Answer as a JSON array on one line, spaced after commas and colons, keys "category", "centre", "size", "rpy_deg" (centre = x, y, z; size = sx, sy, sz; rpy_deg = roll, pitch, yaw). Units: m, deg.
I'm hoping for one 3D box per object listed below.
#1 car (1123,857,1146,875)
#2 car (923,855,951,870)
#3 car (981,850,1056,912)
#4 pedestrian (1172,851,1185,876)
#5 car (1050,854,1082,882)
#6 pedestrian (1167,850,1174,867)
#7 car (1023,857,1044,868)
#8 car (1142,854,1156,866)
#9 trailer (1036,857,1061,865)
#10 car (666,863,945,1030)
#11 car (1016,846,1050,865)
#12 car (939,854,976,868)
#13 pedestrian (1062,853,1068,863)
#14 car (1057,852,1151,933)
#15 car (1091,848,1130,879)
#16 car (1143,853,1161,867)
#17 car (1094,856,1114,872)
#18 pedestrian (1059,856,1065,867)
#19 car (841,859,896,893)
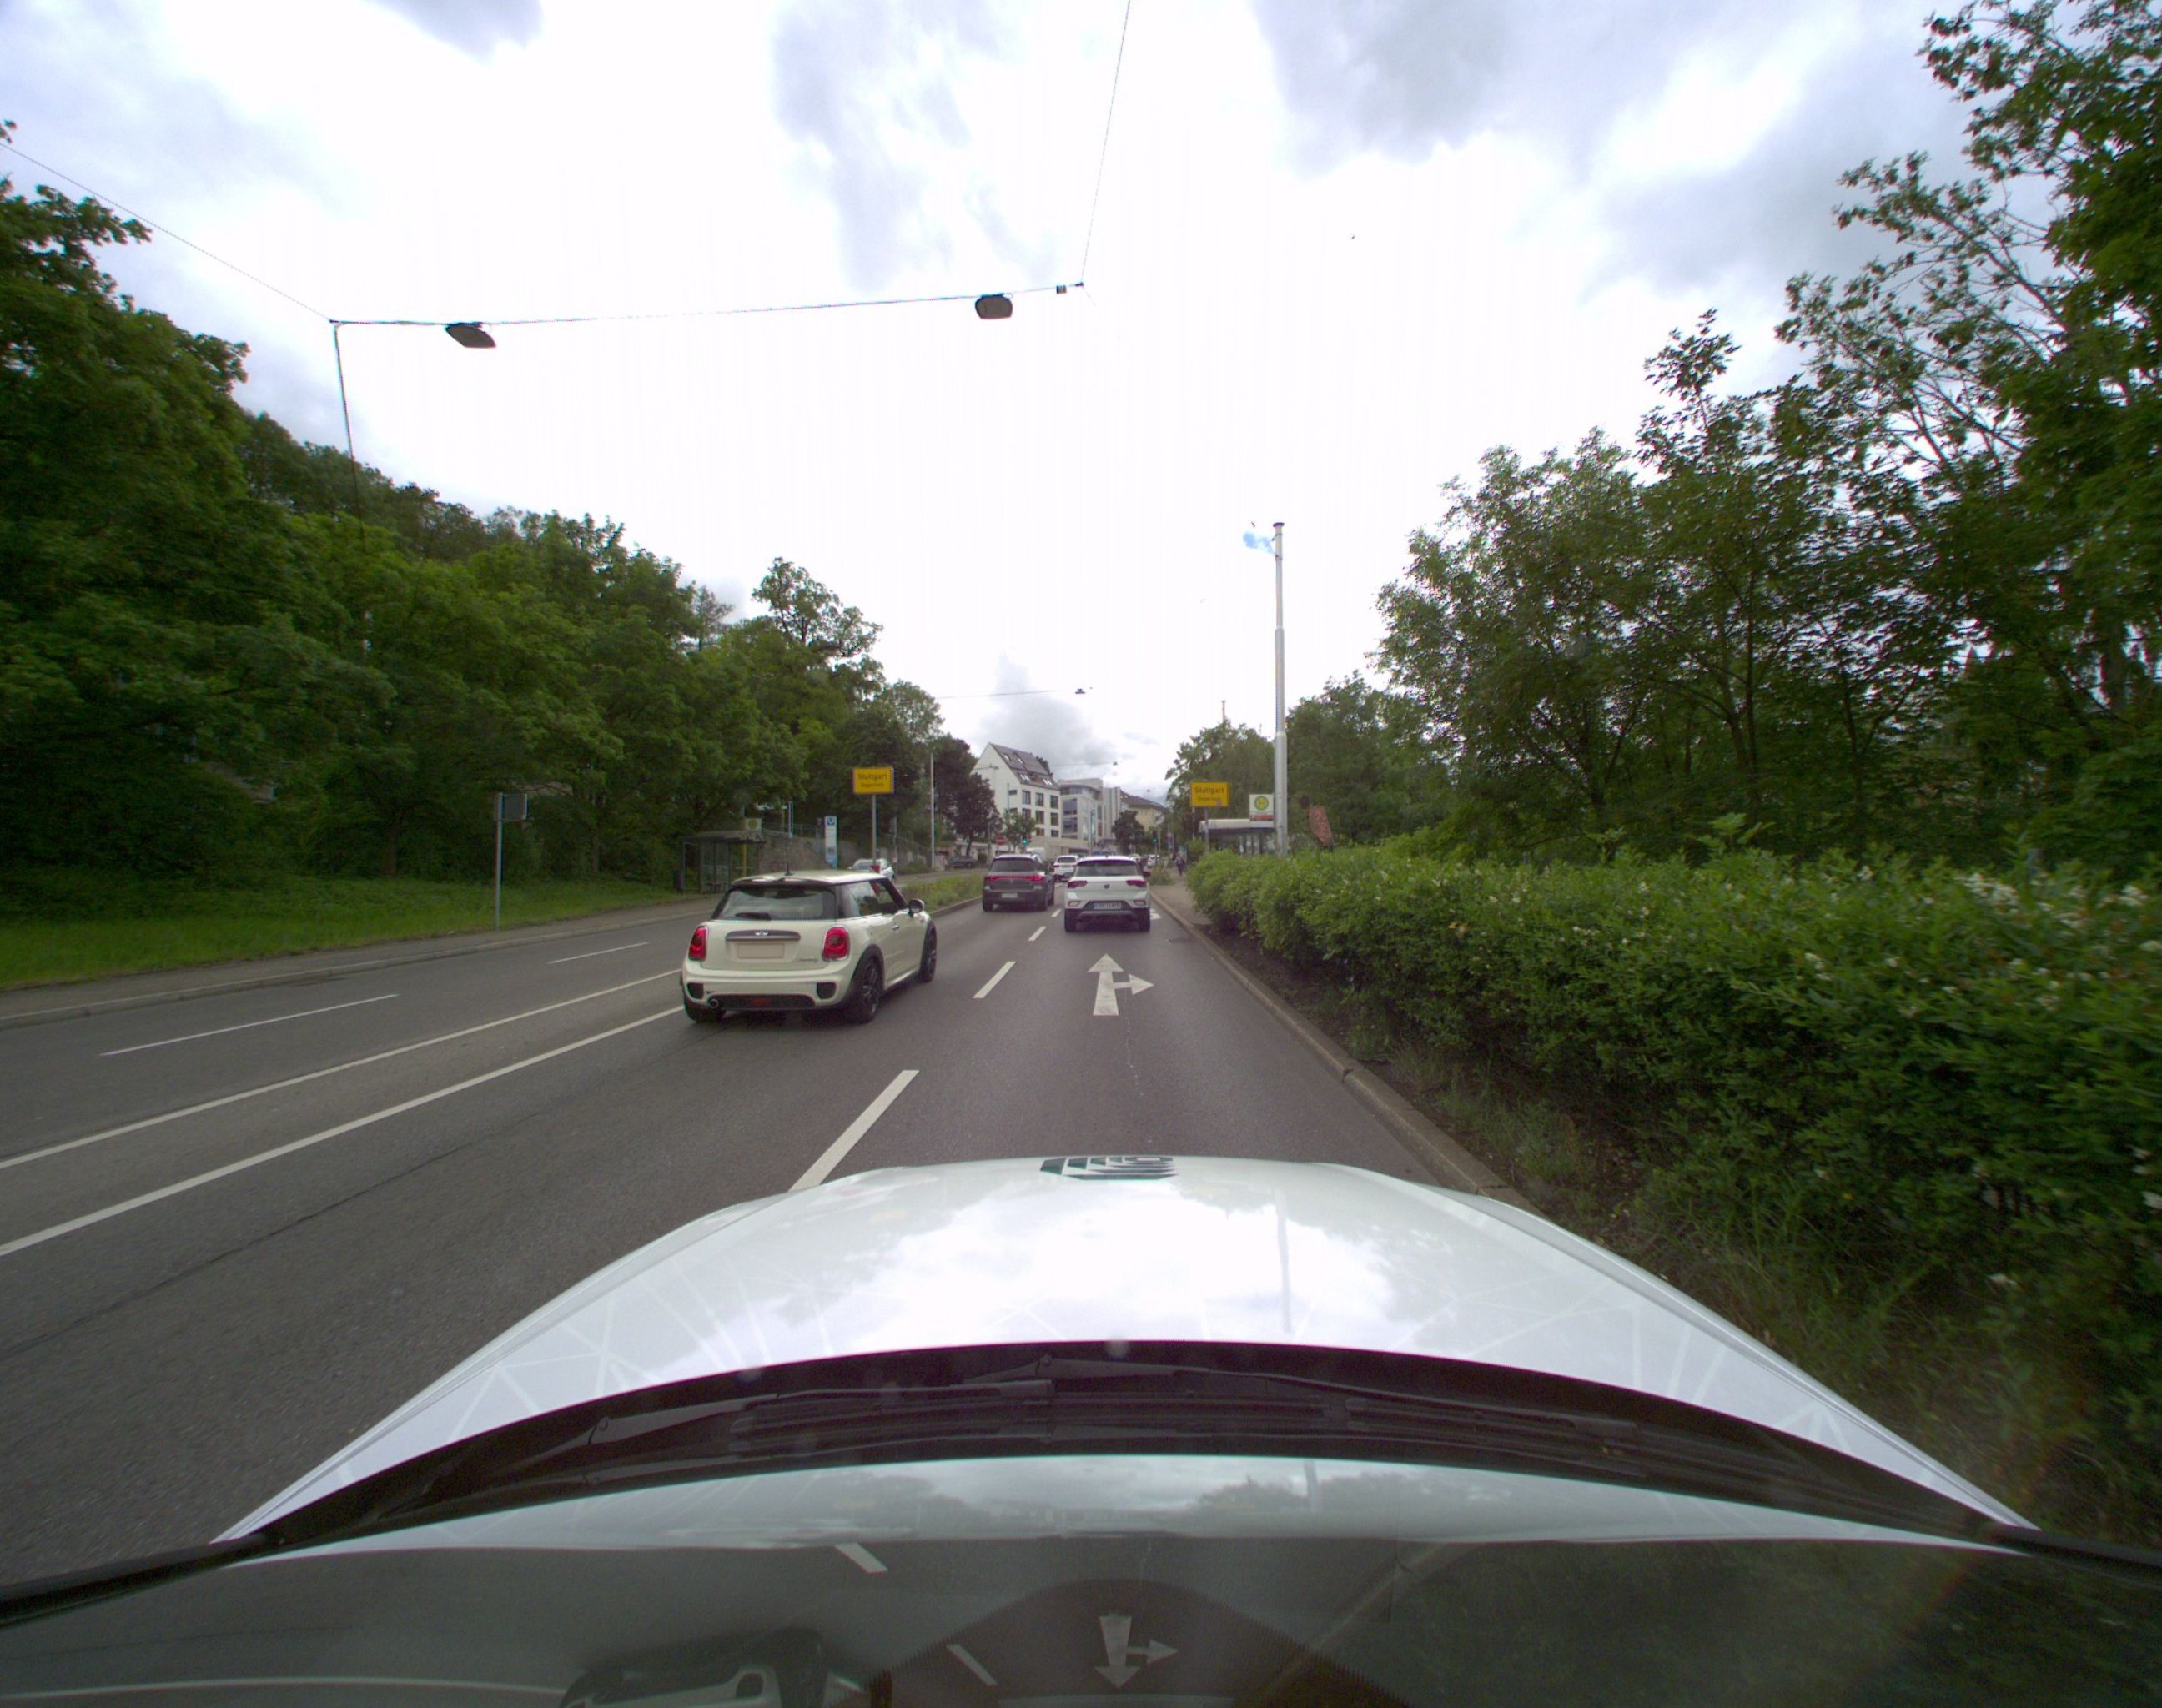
[{"category": "car", "centre": [4.858, 1.038, 73.786], "size": [1.864, 1.501, 4.562], "rpy_deg": [2, 0, 5]}, {"category": "car", "centre": [-15.554, 0.902, 87.918], "size": [2.712, 1.520, 1.553], "rpy_deg": [2, -2, -22]}, {"category": "car", "centre": [-1.788, 0.748, 24.747], "size": [1.806, 1.652, 4.636], "rpy_deg": [-2, 0, 1]}, {"category": "pedestrian", "centre": [6.783, 0.686, 56.455], "size": [0.687, 1.689, 0.623], "rpy_deg": [-3, -2, 23]}, {"category": "car", "centre": [-0.883, 0.838, 51.423], "size": [1.852, 1.652, 4.636], "rpy_deg": [-2, 0, 1]}, {"category": "pedestrian", "centre": [9.541, 0.514, 86.878], "size": [0.692, 1.834, 0.619], "rpy_deg": [0, -1, -4]}, {"category": "car", "centre": [-6.318, 1.108, 107.939], "size": [1.610, 1.465, 3.941], "rpy_deg": [-1, 0, 14]}, {"category": "car", "centre": [9.347, 0.789, 112.260], "size": [1.849, 1.500, 4.061], "rpy_deg": [-2, 0, 5]}, {"category": "trailer", "centre": [-4.780, 1.081, 120.942], "size": [2.228, 1.112, 4.644], "rpy_deg": [-1, 0, 18]}, {"category": "car", "centre": [-2.713, 0.829, 8.900], "size": [1.621, 1.393, 3.569], "rpy_deg": [-2, 0, 3]}, {"category": "car", "centre": [-6.739, 0.196, 115.204], "size": [2.213, 2.568, 7.456], "rpy_deg": [-1, 0, 18]}, {"category": "car", "centre": [-14.043, 0.813, 92.525], "size": [4.120, 1.540, 1.593], "rpy_deg": [-1, 0, -11]}, {"category": "pedestrian", "centre": [-2.545, 0.617, 128.891], "size": [0.678, 1.640, 0.665], "rpy_deg": [1, 0, -31]}, {"category": "car", "centre": [0.467, 0.755, 17.833], "size": [1.805, 1.539, 3.689], "rpy_deg": [-2, 0, 0]}, {"category": "car", "centre": [1.593, 0.483, 42.589], "size": [1.865, 1.501, 4.559], "rpy_deg": [2, 0, 3]}, {"category": "car", "centre": [8.362, 0.693, 96.331], "size": [1.850, 1.500, 4.058], "rpy_deg": [-2, 0, 2]}, {"category": "car", "centre": [2.227, 0.953, 78.766], "size": [1.852, 1.500, 4.055], "rpy_deg": [-2, 0, 0]}, {"category": "pedestrian", "centre": [-3.000, 1.151, 125.775], "size": [0.678, 1.640, 0.665], "rpy_deg": [1, 0, -31]}, {"category": "car", "centre": [-10.408, 1.040, 40.144], "size": [1.724, 1.541, 4.041], "rpy_deg": [0, 0, -1]}]
